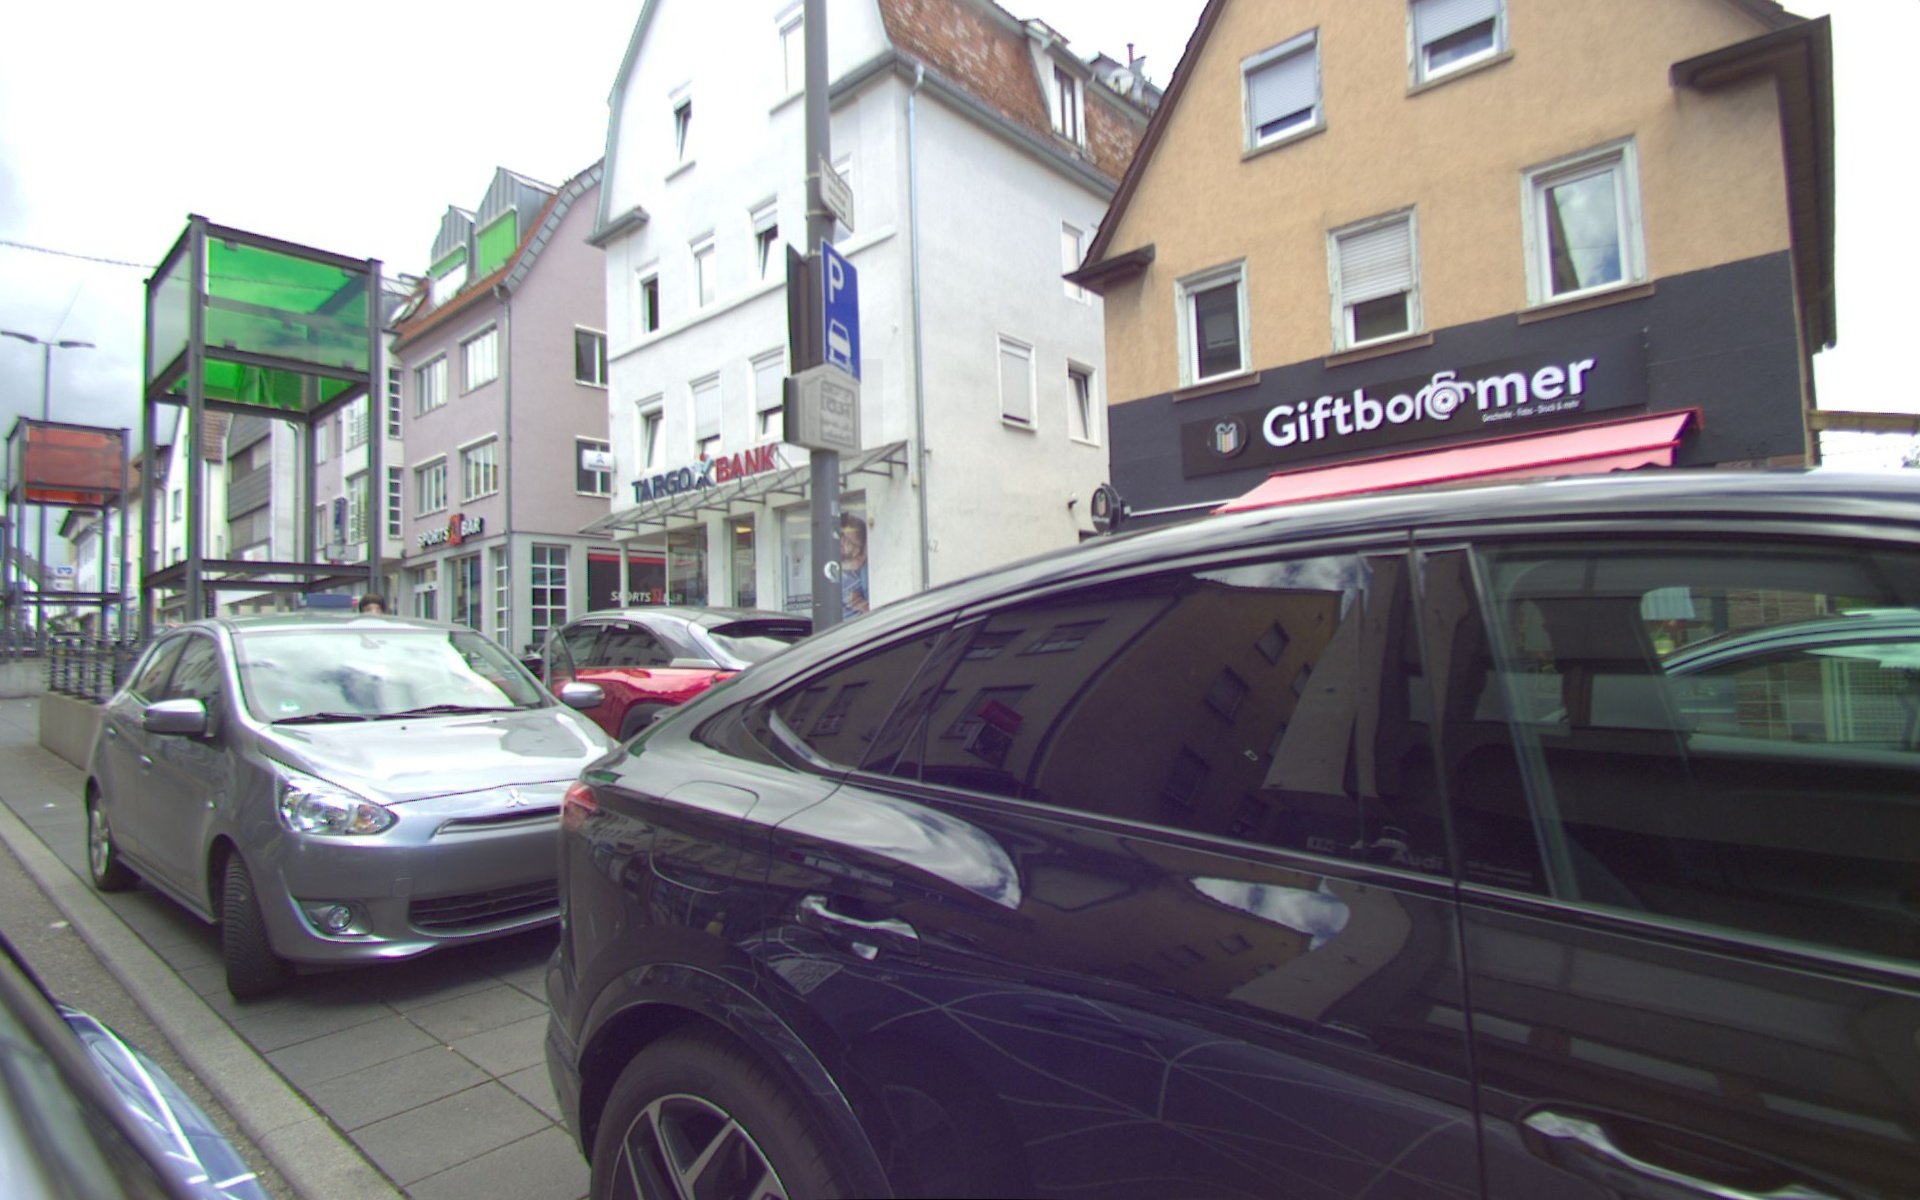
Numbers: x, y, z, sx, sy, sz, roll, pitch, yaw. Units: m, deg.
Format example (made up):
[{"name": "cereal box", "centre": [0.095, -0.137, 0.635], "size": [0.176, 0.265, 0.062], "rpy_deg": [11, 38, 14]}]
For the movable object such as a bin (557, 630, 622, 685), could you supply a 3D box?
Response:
[{"name": "movable object such as a bin", "centre": [-9.740, 1.482, 26.612], "size": [1.067, 1.387, 1.270], "rpy_deg": [-2, -2, 41]}]

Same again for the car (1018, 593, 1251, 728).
[{"name": "car", "centre": [2.988, 0.887, 16.796], "size": [1.883, 1.887, 4.026], "rpy_deg": [-2, 0, 43]}]

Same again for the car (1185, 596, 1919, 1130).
[{"name": "car", "centre": [2.986, 0.746, 3.689], "size": [3.880, 1.487, 1.721], "rpy_deg": [-1, -1, 40]}]

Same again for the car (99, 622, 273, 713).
[{"name": "car", "centre": [-14.127, 1.169, 18.421], "size": [3.850, 1.486, 1.554], "rpy_deg": [-1, -3, 38]}]

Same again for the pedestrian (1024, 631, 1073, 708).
[{"name": "pedestrian", "centre": [1.572, 1.213, 17.978], "size": [0.606, 1.329, 0.619], "rpy_deg": [-2, -2, 40]}]

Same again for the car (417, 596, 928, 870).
[{"name": "car", "centre": [-2.375, 0.812, 7.777], "size": [4.190, 1.555, 1.721], "rpy_deg": [-1, -3, 40]}]

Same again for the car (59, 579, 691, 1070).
[{"name": "car", "centre": [-3.081, 0.726, 5.008], "size": [3.668, 1.544, 1.603], "rpy_deg": [-1, 0, 41]}]

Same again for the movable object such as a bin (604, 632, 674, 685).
[{"name": "movable object such as a bin", "centre": [-8.703, 1.557, 27.421], "size": [1.406, 1.387, 1.270], "rpy_deg": [-2, -2, 41]}]

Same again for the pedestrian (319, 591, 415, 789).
[{"name": "pedestrian", "centre": [-5.370, 0.782, 9.162], "size": [0.901, 1.685, 0.527], "rpy_deg": [-2, -2, 44]}]

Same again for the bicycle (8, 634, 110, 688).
[{"name": "bicycle", "centre": [-21.627, 1.443, 24.313], "size": [0.459, 1.232, 1.760], "rpy_deg": [-1, -2, 40]}]

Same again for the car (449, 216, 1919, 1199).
[{"name": "car", "centre": [1.245, 0.584, 1.327], "size": [4.312, 1.652, 1.936], "rpy_deg": [-1, 0, 41]}]

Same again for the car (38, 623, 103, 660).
[{"name": "car", "centre": [-40.580, 1.851, 46.142], "size": [4.120, 1.583, 1.662], "rpy_deg": [-1, 0, 41]}]

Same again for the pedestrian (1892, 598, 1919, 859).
[{"name": "pedestrian", "centre": [6.627, 0.833, 6.472], "size": [0.635, 1.702, 0.667], "rpy_deg": [0, -2, -9]}]

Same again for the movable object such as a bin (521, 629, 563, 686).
[{"name": "movable object such as a bin", "centre": [-10.481, 1.427, 25.395], "size": [0.807, 1.387, 0.682], "rpy_deg": [-2, -2, 41]}]
